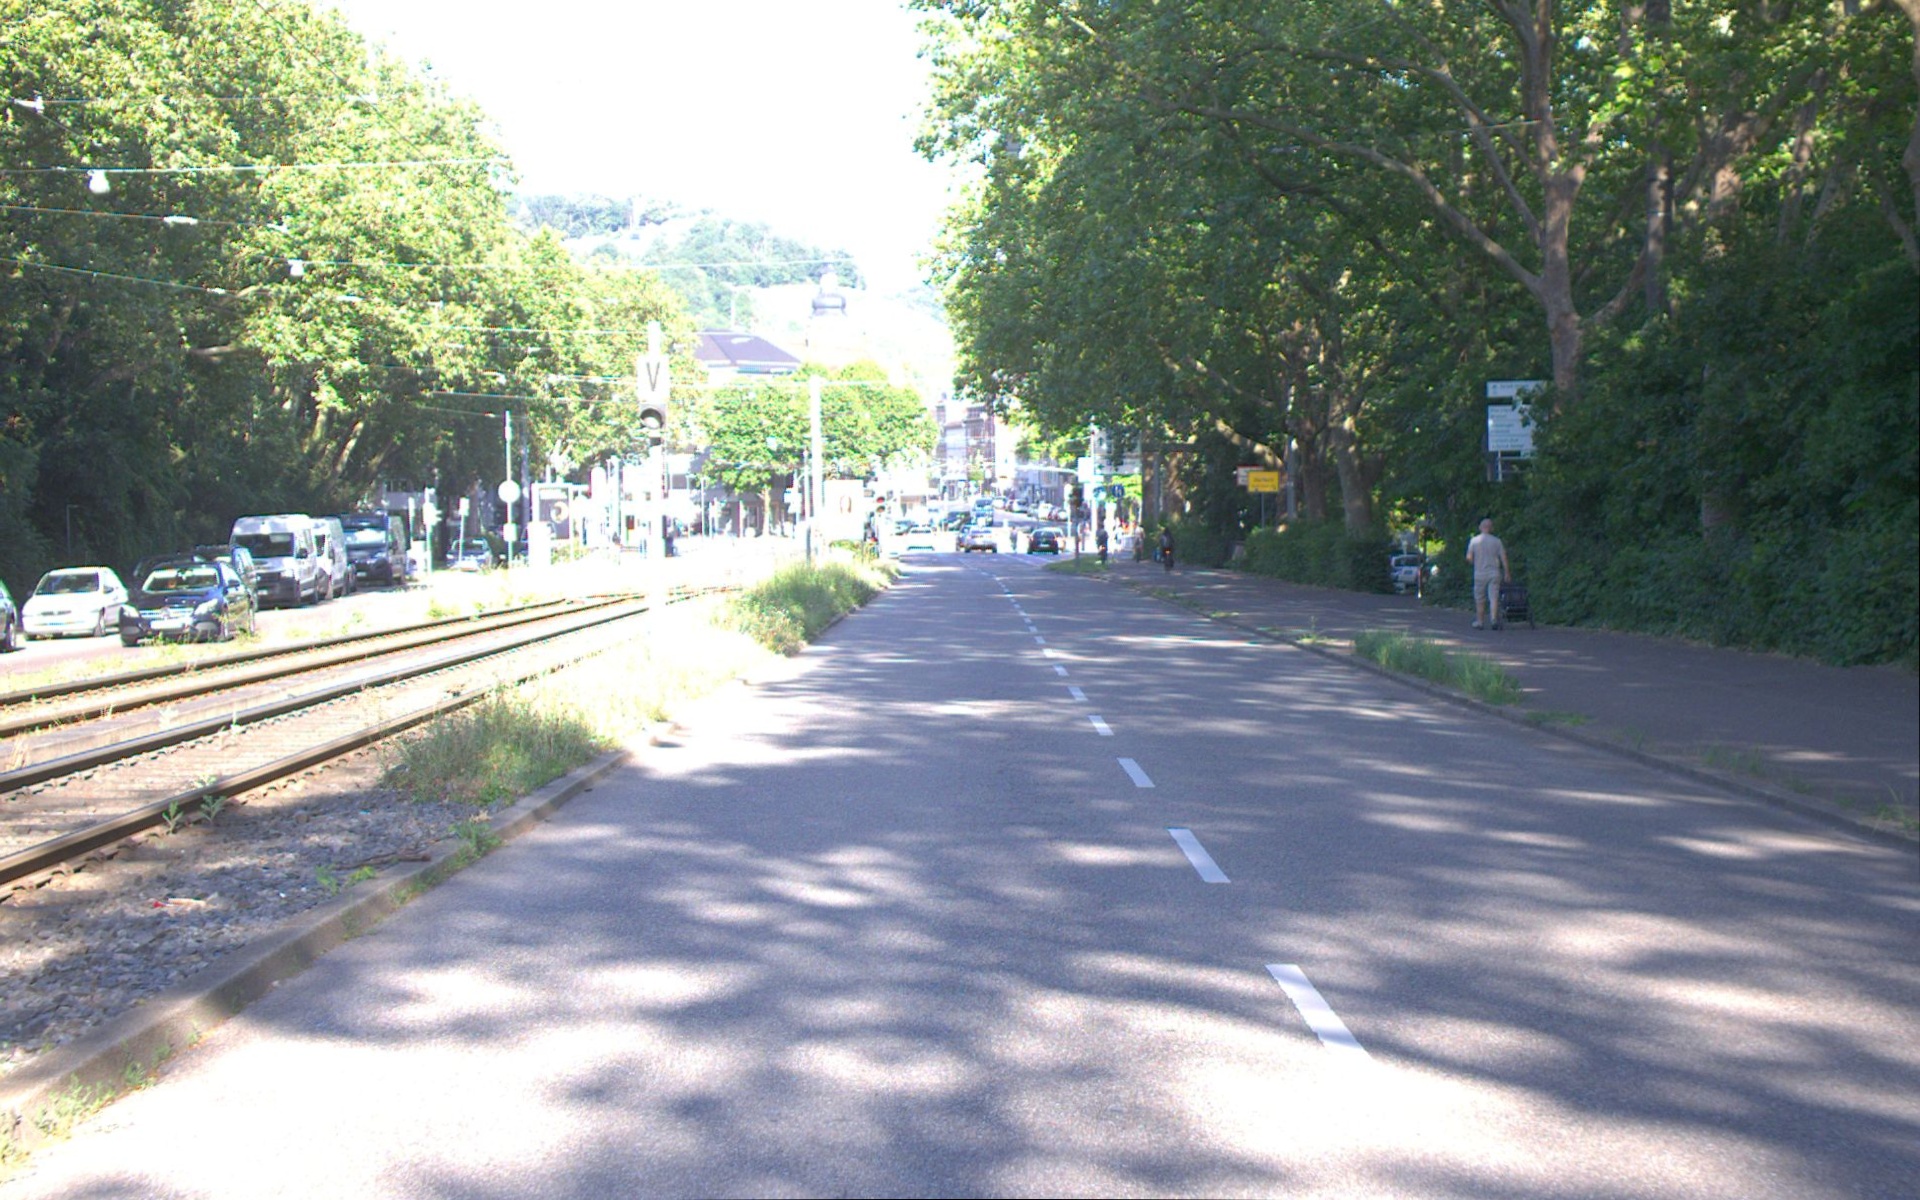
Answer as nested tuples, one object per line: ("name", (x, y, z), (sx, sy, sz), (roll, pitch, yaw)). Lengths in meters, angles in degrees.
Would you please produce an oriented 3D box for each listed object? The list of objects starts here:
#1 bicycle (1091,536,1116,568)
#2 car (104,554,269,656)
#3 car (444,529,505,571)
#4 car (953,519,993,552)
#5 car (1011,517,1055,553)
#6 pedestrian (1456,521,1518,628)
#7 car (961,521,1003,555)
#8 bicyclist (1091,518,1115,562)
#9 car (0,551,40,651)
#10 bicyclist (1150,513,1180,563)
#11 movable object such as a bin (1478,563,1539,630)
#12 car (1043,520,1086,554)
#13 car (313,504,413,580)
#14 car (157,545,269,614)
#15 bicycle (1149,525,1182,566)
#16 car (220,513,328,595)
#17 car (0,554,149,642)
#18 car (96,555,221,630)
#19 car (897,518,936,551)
("bicycle", (5.912, -1.971, 141.655), (0.887, 1.316, 2.639), (-1, 0, 0))
("car", (-13.704, 0.059, 61.192), (1.993, 1.691, 4.745), (-1, 1, -2))
("car", (-20.226, -2.099, 143.414), (1.993, 1.691, 4.745), (-1, 1, -2))
("car", (0.763, -4.001, 213.343), (2.394, 1.993, 5.306), (-1, 1, 0))
("car", (4.261, -3.790, 201.080), (2.394, 1.993, 5.306), (-1, 1, 0))
("pedestrian", (7.742, -0.382, 50.513), (0.804, 1.540, 0.814), (-1, 1, 3))
("car", (1.317, -3.708, 205.689), (2.394, 1.993, 5.306), (-1, 1, 0))
("bicyclist", (5.893, -2.464, 141.570), (0.887, 1.768, 1.222), (-1, 1, 0))
("car", (-17.416, 0.033, 59.195), (1.993, 1.691, 4.745), (-1, 1, -2))
("bicyclist", (6.825, -2.057, 114.369), (0.887, 1.633, 1.164), (-1, 1, 0))
("movable object such as a bin", (7.935, -0.056, 49.758), (0.804, 0.944, 0.656), (-1, 1, 3))
("car", (6.356, -3.831, 210.345), (2.394, 1.993, 5.306), (-1, 1, 0))
("car", (-20.551, -2.013, 118.594), (2.394, 2.515, 5.900), (-1, 1, 0))
("car", (-19.235, -0.541, 88.712), (1.993, 1.691, 4.745), (-1, 1, -2))
("bicycle", (6.831, -1.810, 114.274), (0.887, 1.316, 2.640), (-1, 1, 0))
("car", (-19.054, -1.290, 95.746), (1.993, 2.156, 5.815), (-1, 1, -2))
("car", (-18.137, -0.067, 70.522), (1.993, 1.691, 4.745), (-1, 1, -2))
("car", (-19.022, -0.204, 81.811), (1.993, 1.691, 4.745), (-1, 1, -2))
("car", (-2.693, -4.117, 215.315), (2.394, 1.993, 5.306), (-1, 1, 0))
